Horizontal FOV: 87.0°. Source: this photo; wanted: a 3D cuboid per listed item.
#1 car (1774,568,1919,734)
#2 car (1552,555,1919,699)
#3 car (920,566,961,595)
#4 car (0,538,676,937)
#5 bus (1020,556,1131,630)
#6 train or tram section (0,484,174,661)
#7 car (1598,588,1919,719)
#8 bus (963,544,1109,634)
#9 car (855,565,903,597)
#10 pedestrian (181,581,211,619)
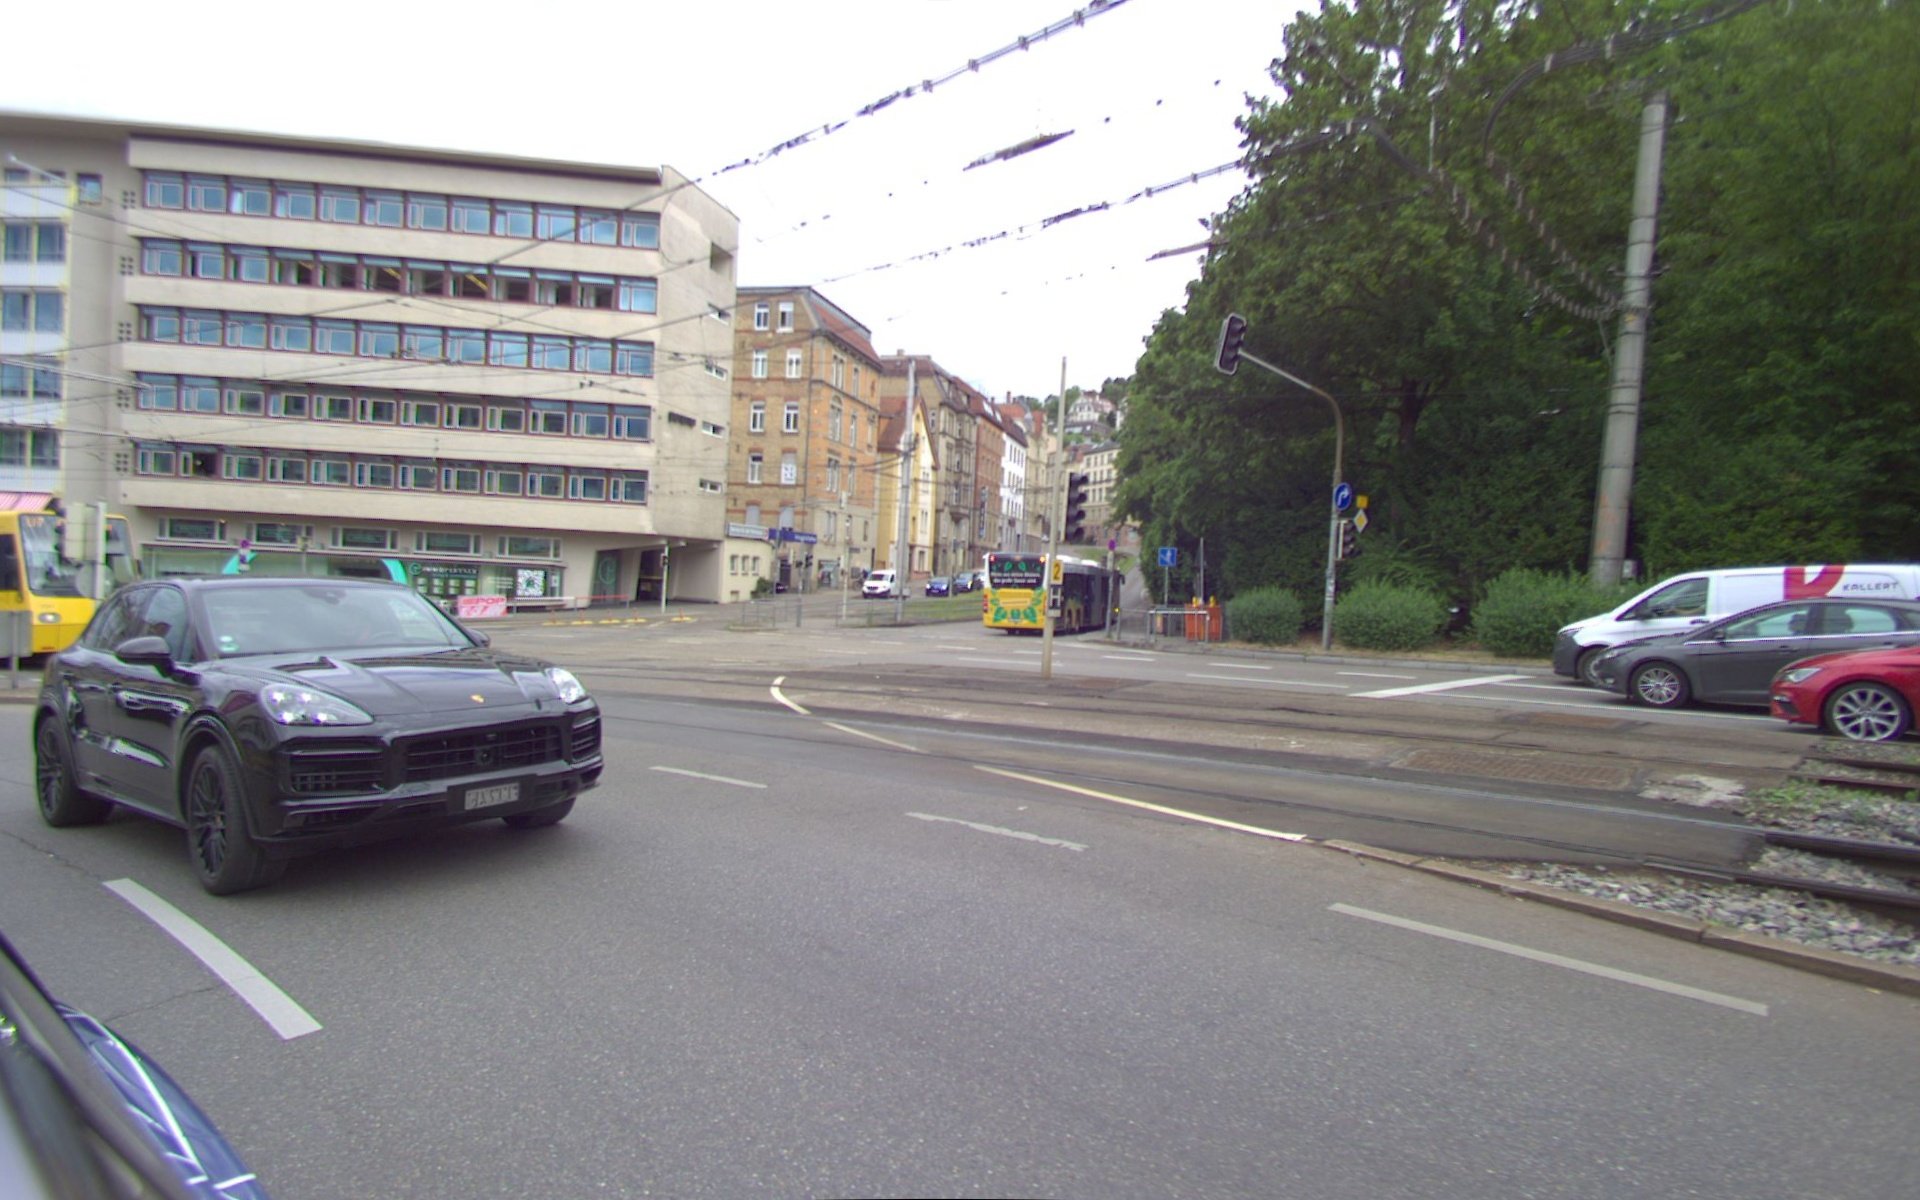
[{"bbox_3d":[10.378,0.498,9.189,1.969,1.530,4.411,1,-1,-42],"label":"car"},{"bbox_3d":[11.957,0.334,15.142,1.970,1.863,4.999,0,1,-42],"label":"car"},{"bbox_3d":[-1.368,-1.415,72.686,1.981,2.028,3.982,0,2,14],"label":"car"},{"bbox_3d":[-4.192,0.520,6.485,4.770,1.697,2.010,1,2,35],"label":"car"},{"bbox_3d":[5.723,-0.349,47.839,3.295,3.066,11.300,0,0,17],"label":"bus"},{"bbox_3d":[-25.828,-0.587,24.337,14.339,3.691,2.877,0,0,15],"label":"train or tram section"},{"bbox_3d":[10.551,0.582,12.332,1.721,1.438,4.412,0,0,-41],"label":"car"},{"bbox_3d":[3.371,-0.421,40.228,3.361,3.052,11.484,0,0,17],"label":"bus"},{"bbox_3d":[-5.466,-1.229,68.701,1.982,2.029,3.980,-2,0,15],"label":"car"},{"bbox_3d":[-34.705,0.002,45.968,0.773,1.721,0.761,0,1,-2],"label":"pedestrian"}]
